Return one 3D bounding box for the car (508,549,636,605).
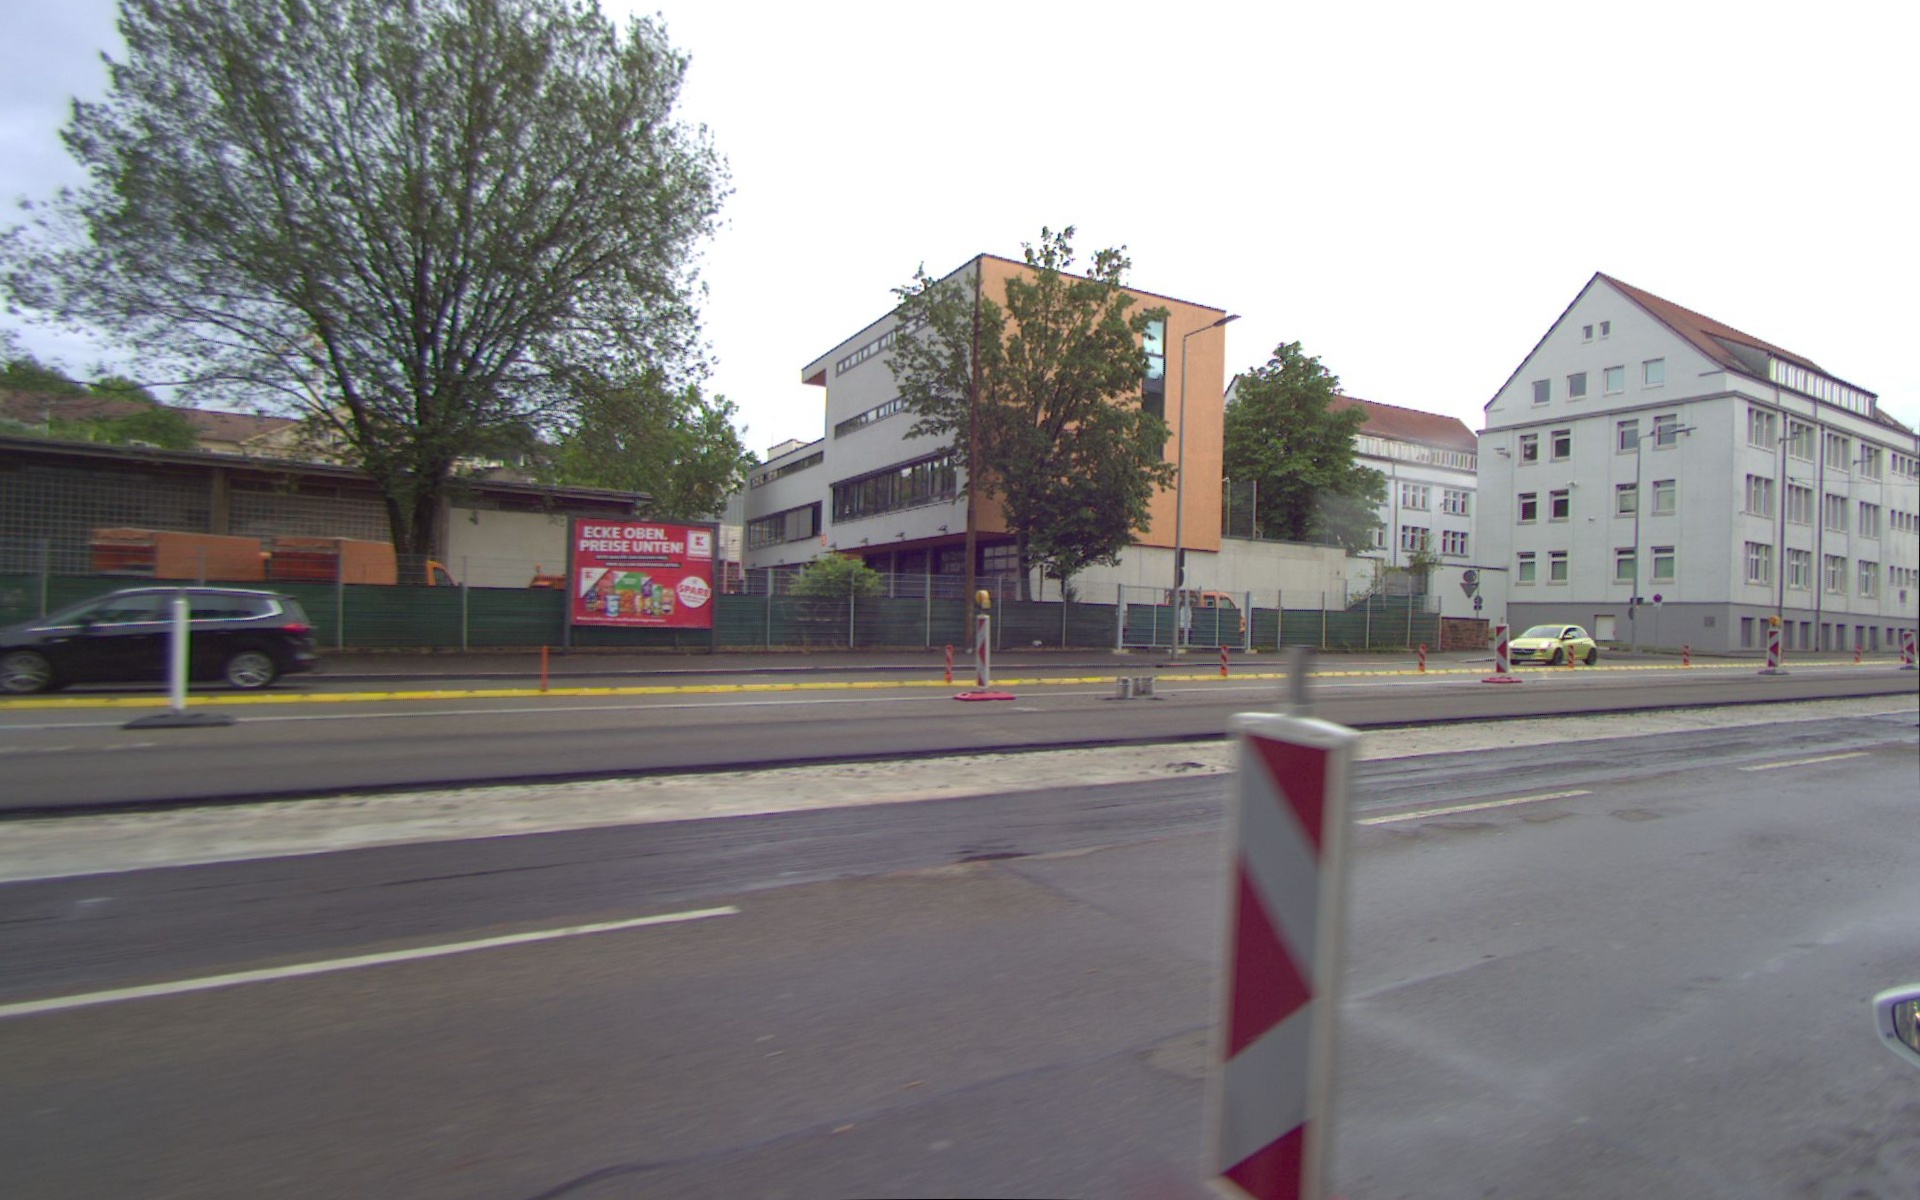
[{"bbox_3d":[-11.944,-0.671,31.253,1.959,1.548,4.026,1,-1,8],"label":"car"}]

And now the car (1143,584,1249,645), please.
[{"bbox_3d":[9.006,0.577,38.320,3.955,2.199,1.602,1,-1,-31],"label":"car"}]

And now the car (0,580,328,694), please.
[{"bbox_3d":[-12.845,0.621,16.278,4.278,1.651,1.851,2,-3,-30],"label":"car"}]

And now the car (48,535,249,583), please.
[{"bbox_3d":[-21.825,-1.065,27.244,1.718,1.076,4.026,1,-1,13],"label":"car"}]

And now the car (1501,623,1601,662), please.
[{"bbox_3d":[21.575,1.550,36.616,3.761,1.386,1.546,2,-2,-31],"label":"car"}]

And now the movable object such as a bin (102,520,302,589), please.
[{"bbox_3d":[-19.864,-1.145,26.562,1.718,1.548,4.026,1,-1,13],"label":"movable object such as a bin"}]
